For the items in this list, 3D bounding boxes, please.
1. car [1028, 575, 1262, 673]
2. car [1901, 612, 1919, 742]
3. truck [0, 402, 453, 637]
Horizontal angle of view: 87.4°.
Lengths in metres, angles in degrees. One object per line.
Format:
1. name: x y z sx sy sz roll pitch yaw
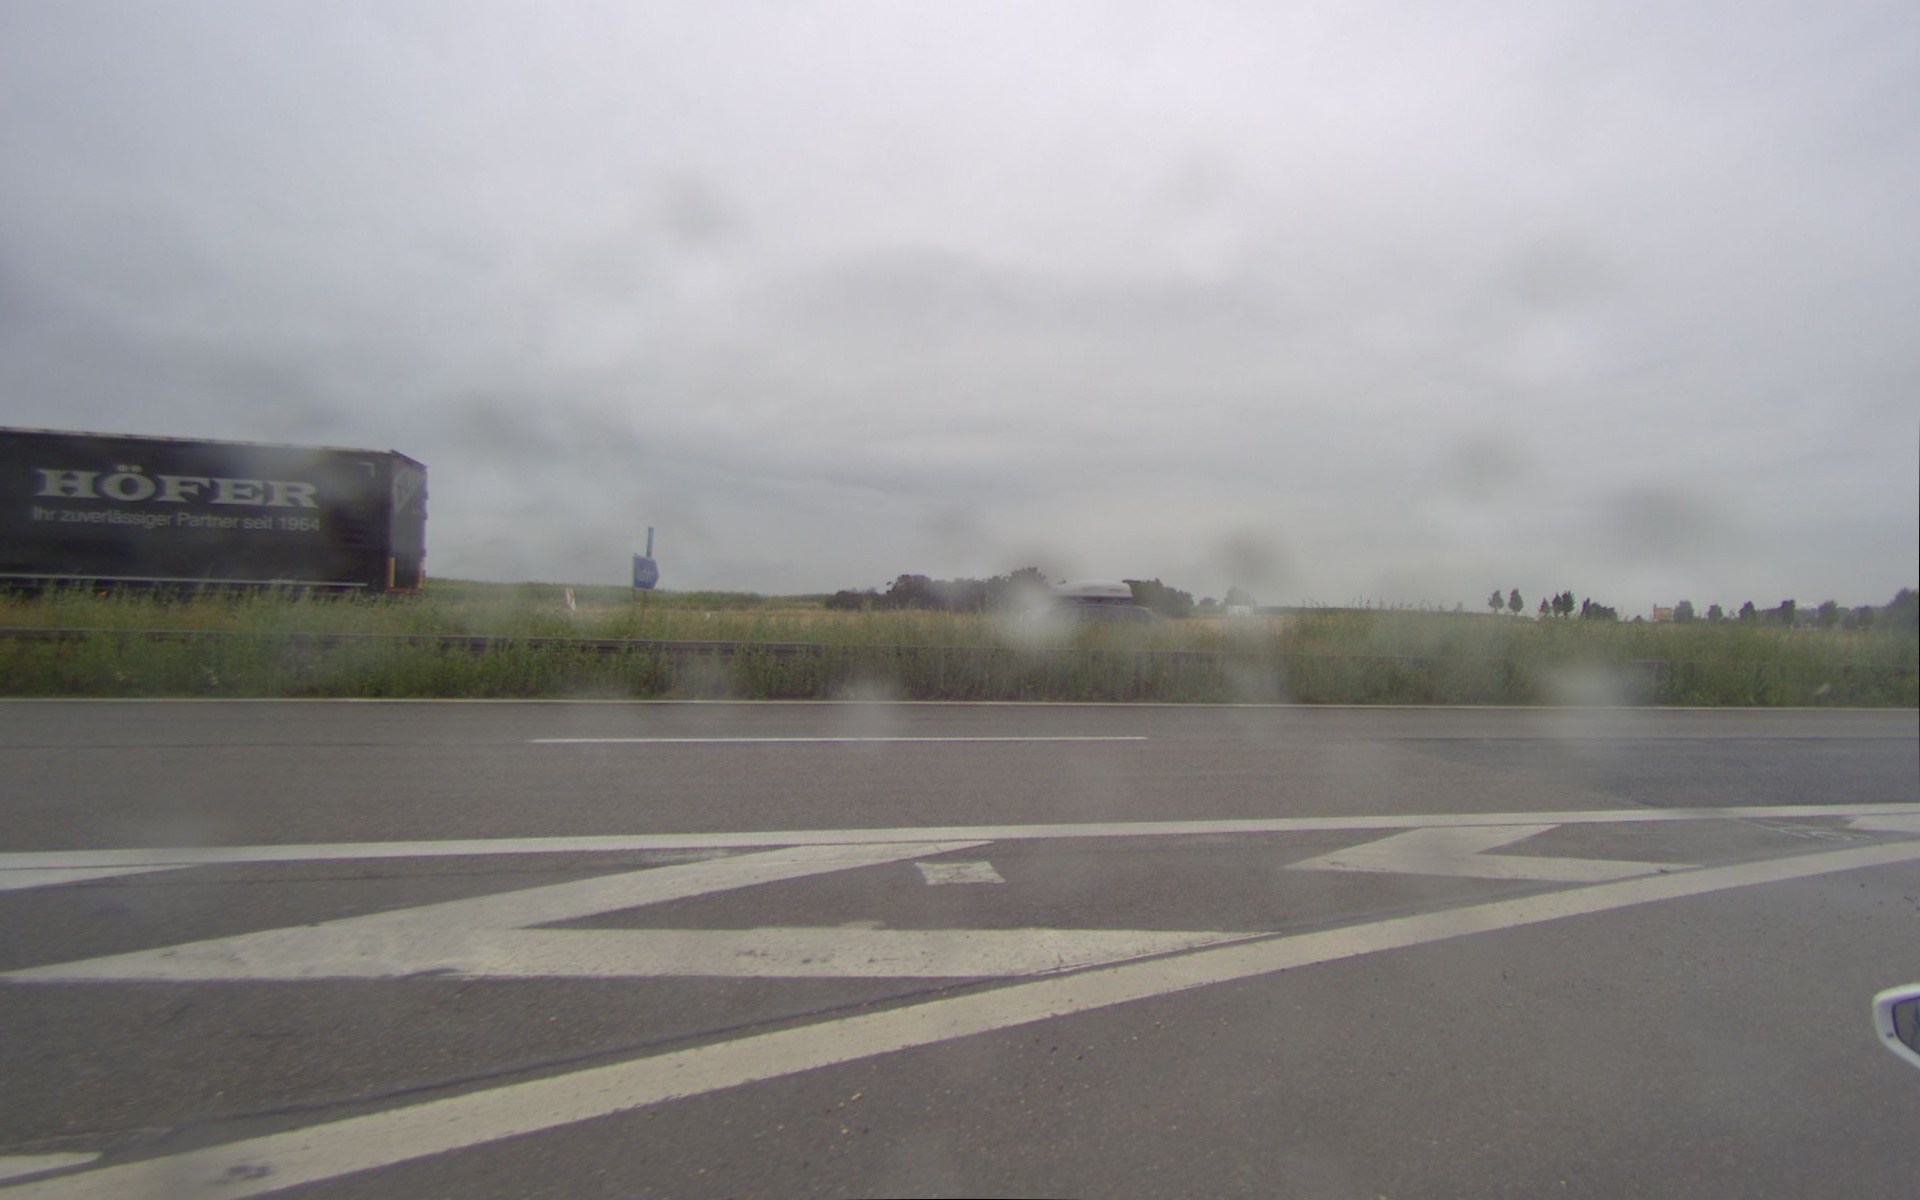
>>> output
1. car: 3.927 0.498 21.617 4.455 1.901 2.105 2 1 -15
2. car: 13.674 0.984 11.617 4.716 1.508 1.874 2 -1 -15
3. truck: -17.589 -1.558 19.231 13.587 4.020 3.193 2 2 -16
